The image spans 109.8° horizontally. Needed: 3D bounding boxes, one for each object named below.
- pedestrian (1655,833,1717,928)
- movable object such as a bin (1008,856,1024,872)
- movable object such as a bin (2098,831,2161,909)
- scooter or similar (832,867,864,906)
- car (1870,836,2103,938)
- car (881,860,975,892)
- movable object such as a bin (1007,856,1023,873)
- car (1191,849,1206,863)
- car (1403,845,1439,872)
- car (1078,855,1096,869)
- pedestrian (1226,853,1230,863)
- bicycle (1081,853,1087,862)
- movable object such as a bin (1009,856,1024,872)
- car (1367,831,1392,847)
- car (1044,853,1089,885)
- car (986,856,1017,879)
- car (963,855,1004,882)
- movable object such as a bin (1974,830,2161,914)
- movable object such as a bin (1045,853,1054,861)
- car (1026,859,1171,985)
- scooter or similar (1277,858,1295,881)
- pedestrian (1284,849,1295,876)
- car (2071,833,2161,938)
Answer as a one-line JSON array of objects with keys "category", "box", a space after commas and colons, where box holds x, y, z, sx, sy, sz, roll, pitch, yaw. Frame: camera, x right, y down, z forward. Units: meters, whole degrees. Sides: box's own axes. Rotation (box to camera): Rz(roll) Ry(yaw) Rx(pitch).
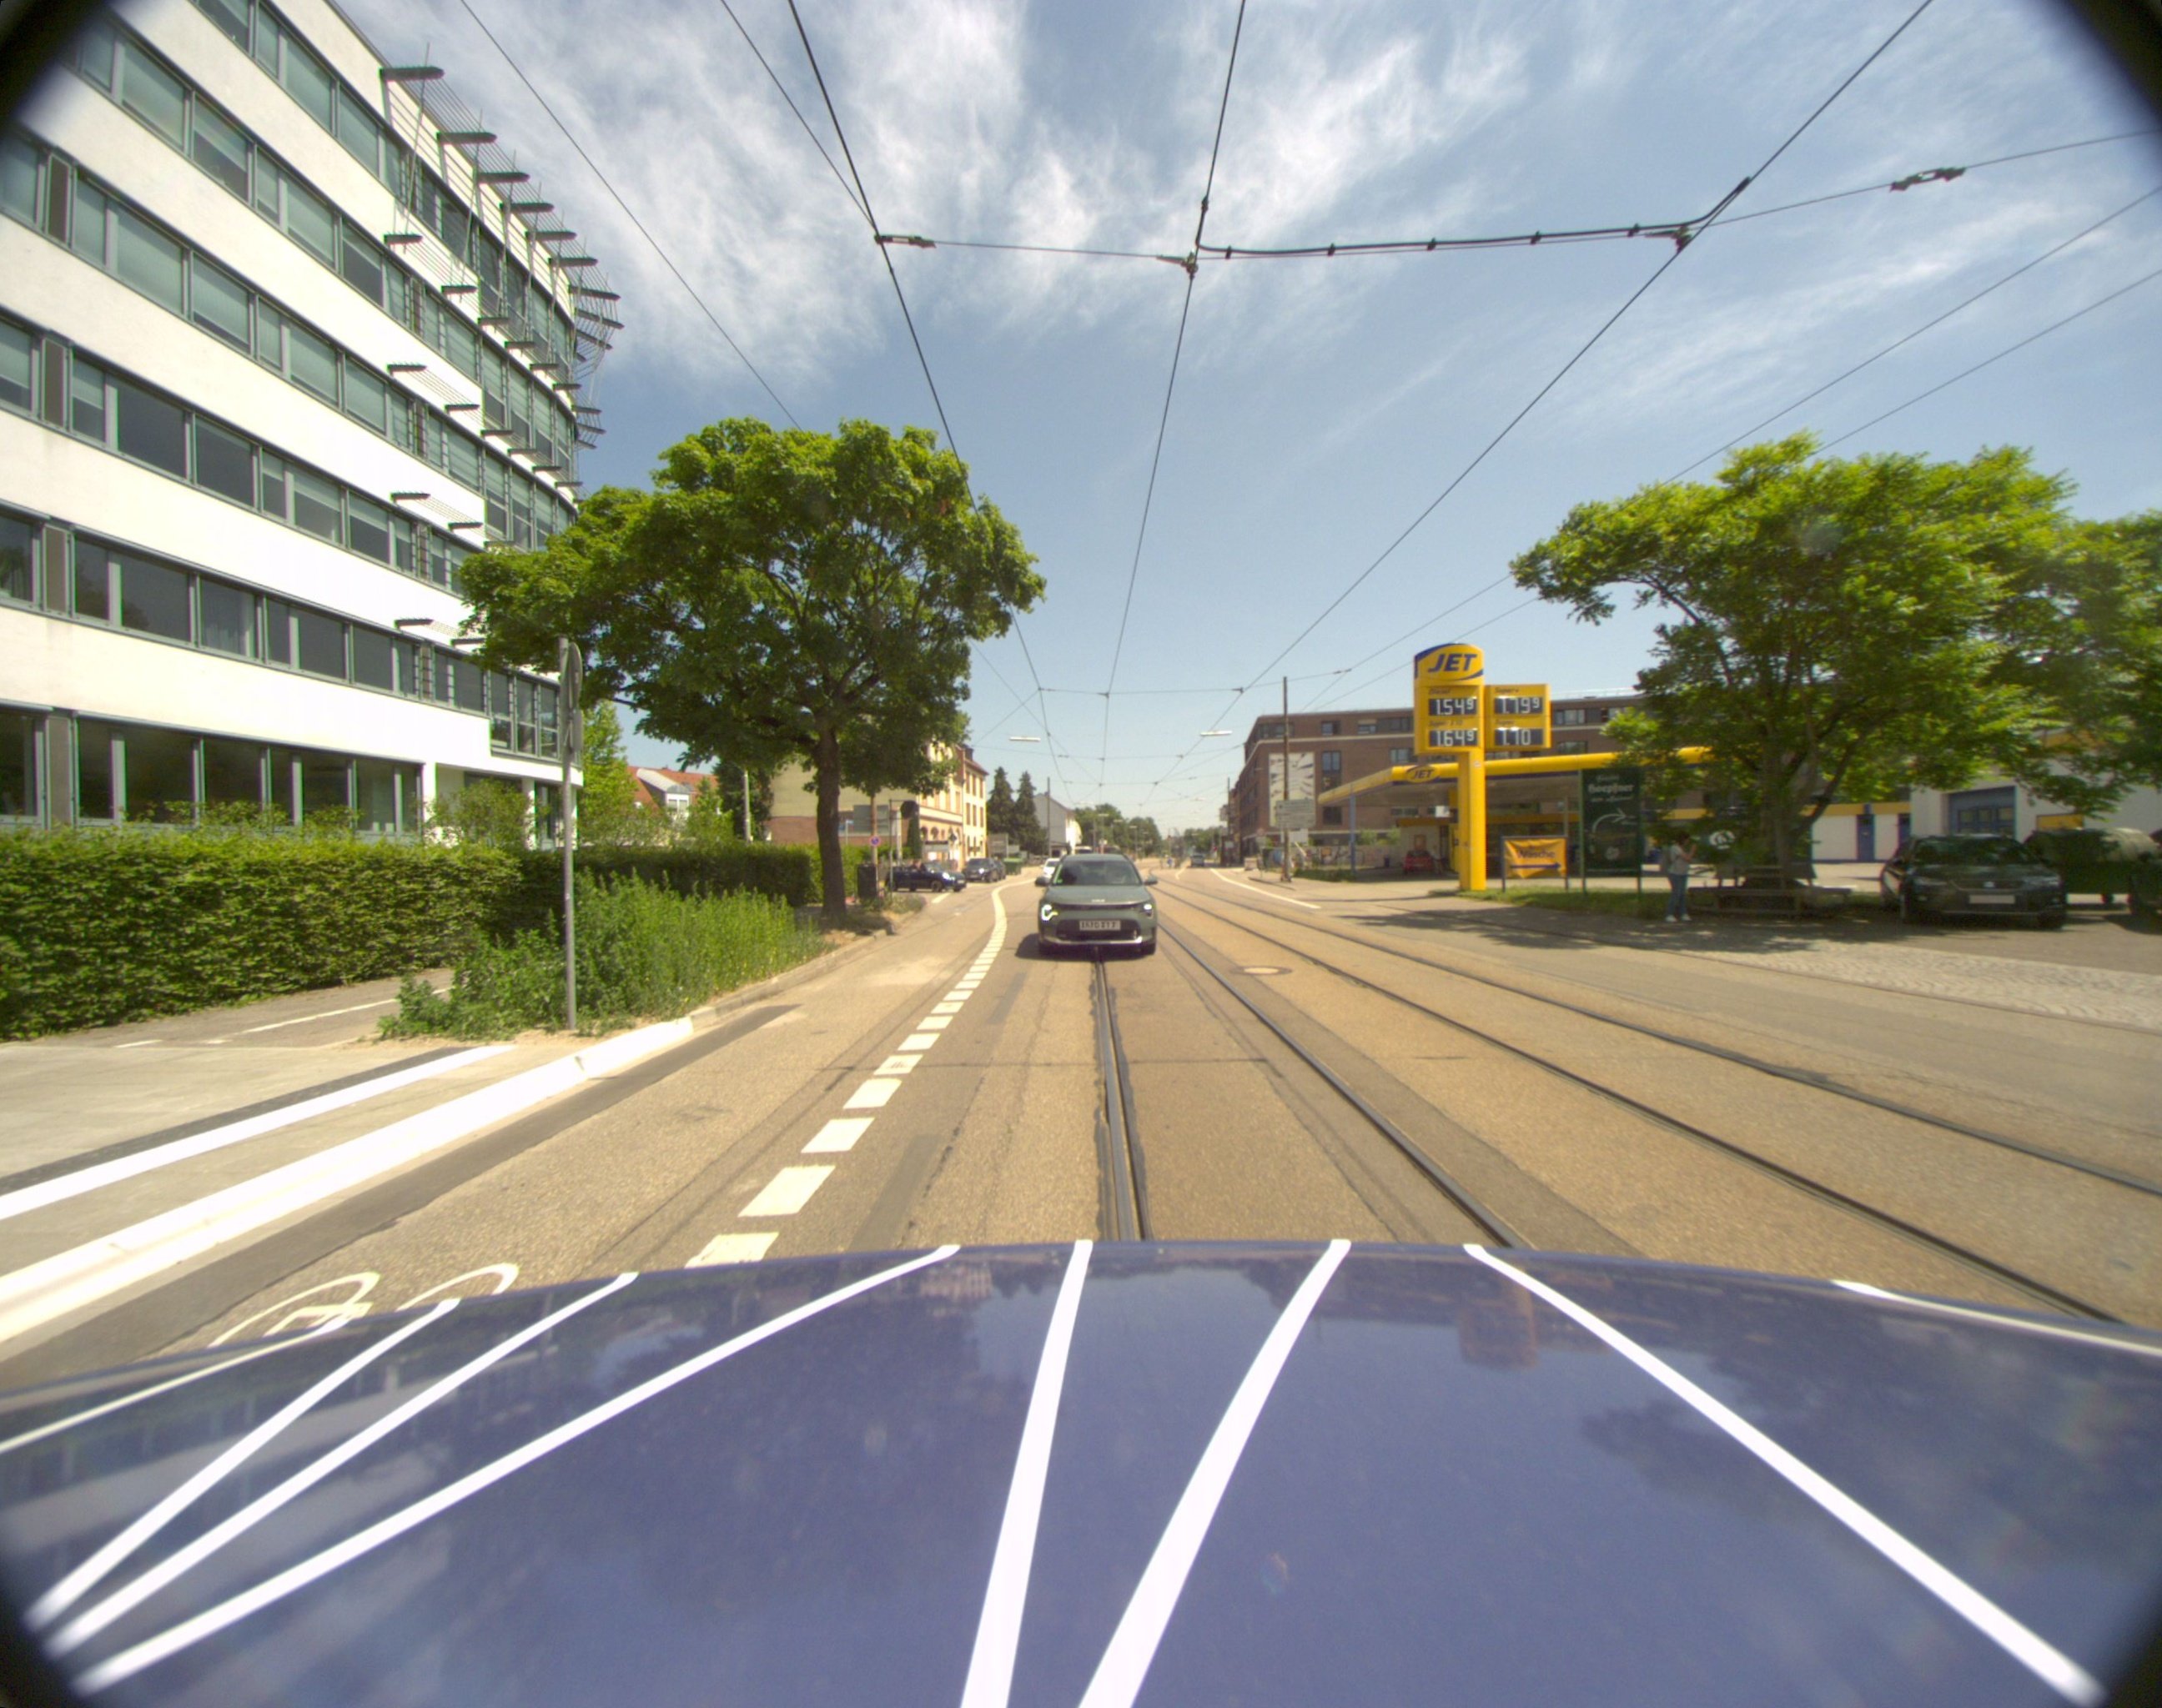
[{"category": "pedestrian", "box": [11.561, 0.497, 14.536, 0.581, 1.765, 0.699, -2, 0, -3]}, {"category": "movable object such as a bin", "box": [-5.858, 0.891, 68.847, 1.396, 1.446, 1.139, 1, 0, -3]}, {"category": "movable object such as a bin", "box": [20.801, 0.277, 14.074, 1.522, 1.424, 2.103, -2, 0, 25]}, {"category": "scooter or similar", "box": [-7.645, 1.059, 24.962, 0.326, 1.215, 1.153, -2, 0, 22]}, {"category": "car", "box": [15.752, 0.478, 13.518, 1.930, 1.480, 4.460, -2, 0, 41]}, {"category": "car", "box": [-6.984, 0.987, 34.671, 3.917, 1.364, 1.706, 0, 1, 25]}, {"category": "movable object such as a bin", "box": [-5.802, 0.912, 66.685, 1.327, 1.446, 1.057, 1, 0, -3]}, {"category": "car", "box": [16.402, 0.276, 106.336, 1.997, 1.789, 4.555, -2, 1, 9]}, {"category": "car", "box": [20.545, 0.301, 45.901, 1.827, 1.495, 4.206, -3, -2, 24]}, {"category": "car", "box": [0.651, 0.881, 85.050, 1.748, 1.546, 4.488, -2, 0, 3]}, {"category": "pedestrian", "box": [22.545, 0.598, 116.727, 0.604, 1.586, 0.715, -1, 1, 6]}, {"category": "bicycle", "box": [0.615, 0.720, 160.325, 0.799, 1.889, 1.961, 2, 0, 16]}, {"category": "movable object such as a bin", "box": [-5.765, 0.897, 67.760, 1.250, 1.446, 1.057, 1, 0, -3]}, {"category": "car", "box": [29.571, -1.475, 75.390, 1.734, 1.460, 4.004, -2, 0, 13]}, {"category": "car", "box": [-0.741, 0.771, 40.863, 1.748, 1.546, 4.489, -2, 0, 7]}, {"category": "car", "box": [-6.038, 0.986, 57.855, 1.776, 1.539, 4.467, 1, 1, 1]}, {"category": "car", "box": [-6.540, 0.918, 51.439, 1.929, 1.683, 5.082, 1, 0, 2]}, {"category": "movable object such as a bin", "box": [19.228, 0.322, 14.855, 1.522, 1.500, 2.103, -2, 0, 25]}, {"category": "movable object such as a bin", "box": [-5.828, 0.576, 138.740, 1.389, 1.472, 1.152, -1, 0, 9]}, {"category": "car", "box": [0.196, 0.877, 11.925, 1.827, 1.546, 4.486, 1, 0, -1]}, {"category": "scooter or similar", "box": [10.932, 0.811, 40.552, 0.520, 1.193, 1.376, -2, 0, -2]}, {"category": "pedestrian", "box": [12.952, 0.513, 47.227, 0.626, 1.681, 0.723, -1, 1, 13]}, {"category": "car", "box": [17.635, 0.428, 11.742, 1.930, 1.480, 4.460, -2, 0, 41]}]
